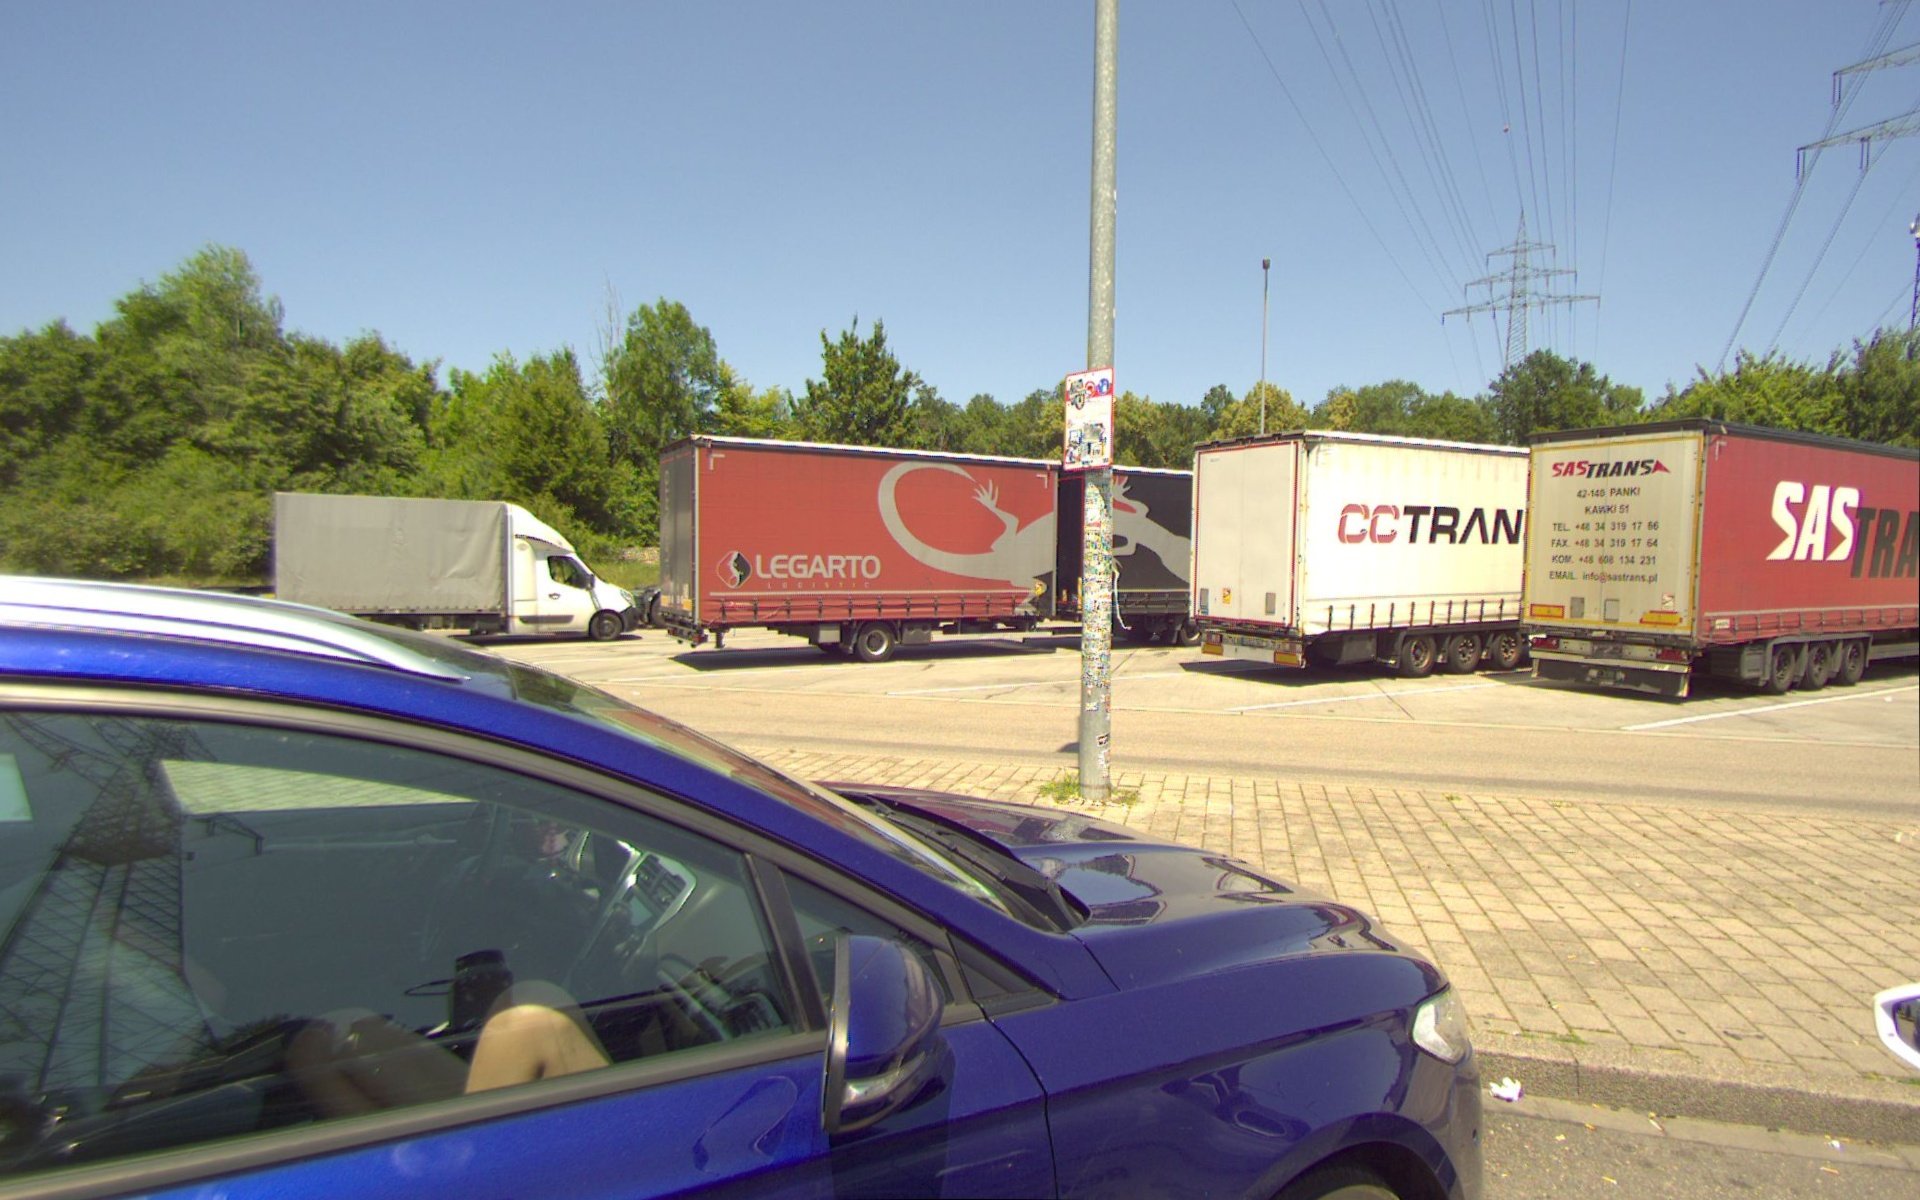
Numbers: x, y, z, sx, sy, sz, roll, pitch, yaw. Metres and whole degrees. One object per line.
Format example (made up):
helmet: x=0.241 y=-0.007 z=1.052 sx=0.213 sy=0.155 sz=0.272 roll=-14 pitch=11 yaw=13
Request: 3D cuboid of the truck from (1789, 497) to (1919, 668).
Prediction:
truck: x=21.267 y=-0.405 z=22.058 sx=5.903 sy=3.409 sz=2.798 roll=-1 pitch=3 yaw=-30

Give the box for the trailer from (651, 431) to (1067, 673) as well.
trailer: x=-1.872 y=-0.905 z=20.341 sx=8.007 sy=4.127 sz=2.693 roll=-1 pitch=3 yaw=-30

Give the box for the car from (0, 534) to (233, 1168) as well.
car: x=-4.405 y=0.580 z=2.100 sx=4.522 sy=1.526 sz=1.743 roll=0 pitch=2 yaw=-32

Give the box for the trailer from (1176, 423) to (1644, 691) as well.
trailer: x=8.982 y=-0.771 z=19.355 sx=10.264 sy=4.158 sz=2.693 roll=-1 pitch=3 yaw=-30

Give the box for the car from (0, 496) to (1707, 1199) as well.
car: x=-0.964 y=0.653 z=1.463 sx=4.522 sy=1.491 sz=1.743 roll=0 pitch=2 yaw=-32

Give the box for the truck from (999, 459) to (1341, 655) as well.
truck: x=5.281 y=-1.000 z=24.550 sx=8.586 sy=4.127 sz=2.693 roll=-1 pitch=3 yaw=-30

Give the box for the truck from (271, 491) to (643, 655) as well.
truck: x=-11.230 y=-0.624 z=23.005 sx=7.187 sy=3.289 sz=2.694 roll=-1 pitch=3 yaw=-29

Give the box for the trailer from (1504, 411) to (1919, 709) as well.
trailer: x=15.475 y=-0.677 z=18.621 sx=13.599 sy=4.127 sz=2.807 roll=-1 pitch=3 yaw=-31

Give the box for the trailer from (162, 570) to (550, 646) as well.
trailer: x=-14.741 y=0.103 z=25.245 sx=8.007 sy=1.648 sz=2.199 roll=-1 pitch=3 yaw=-30
